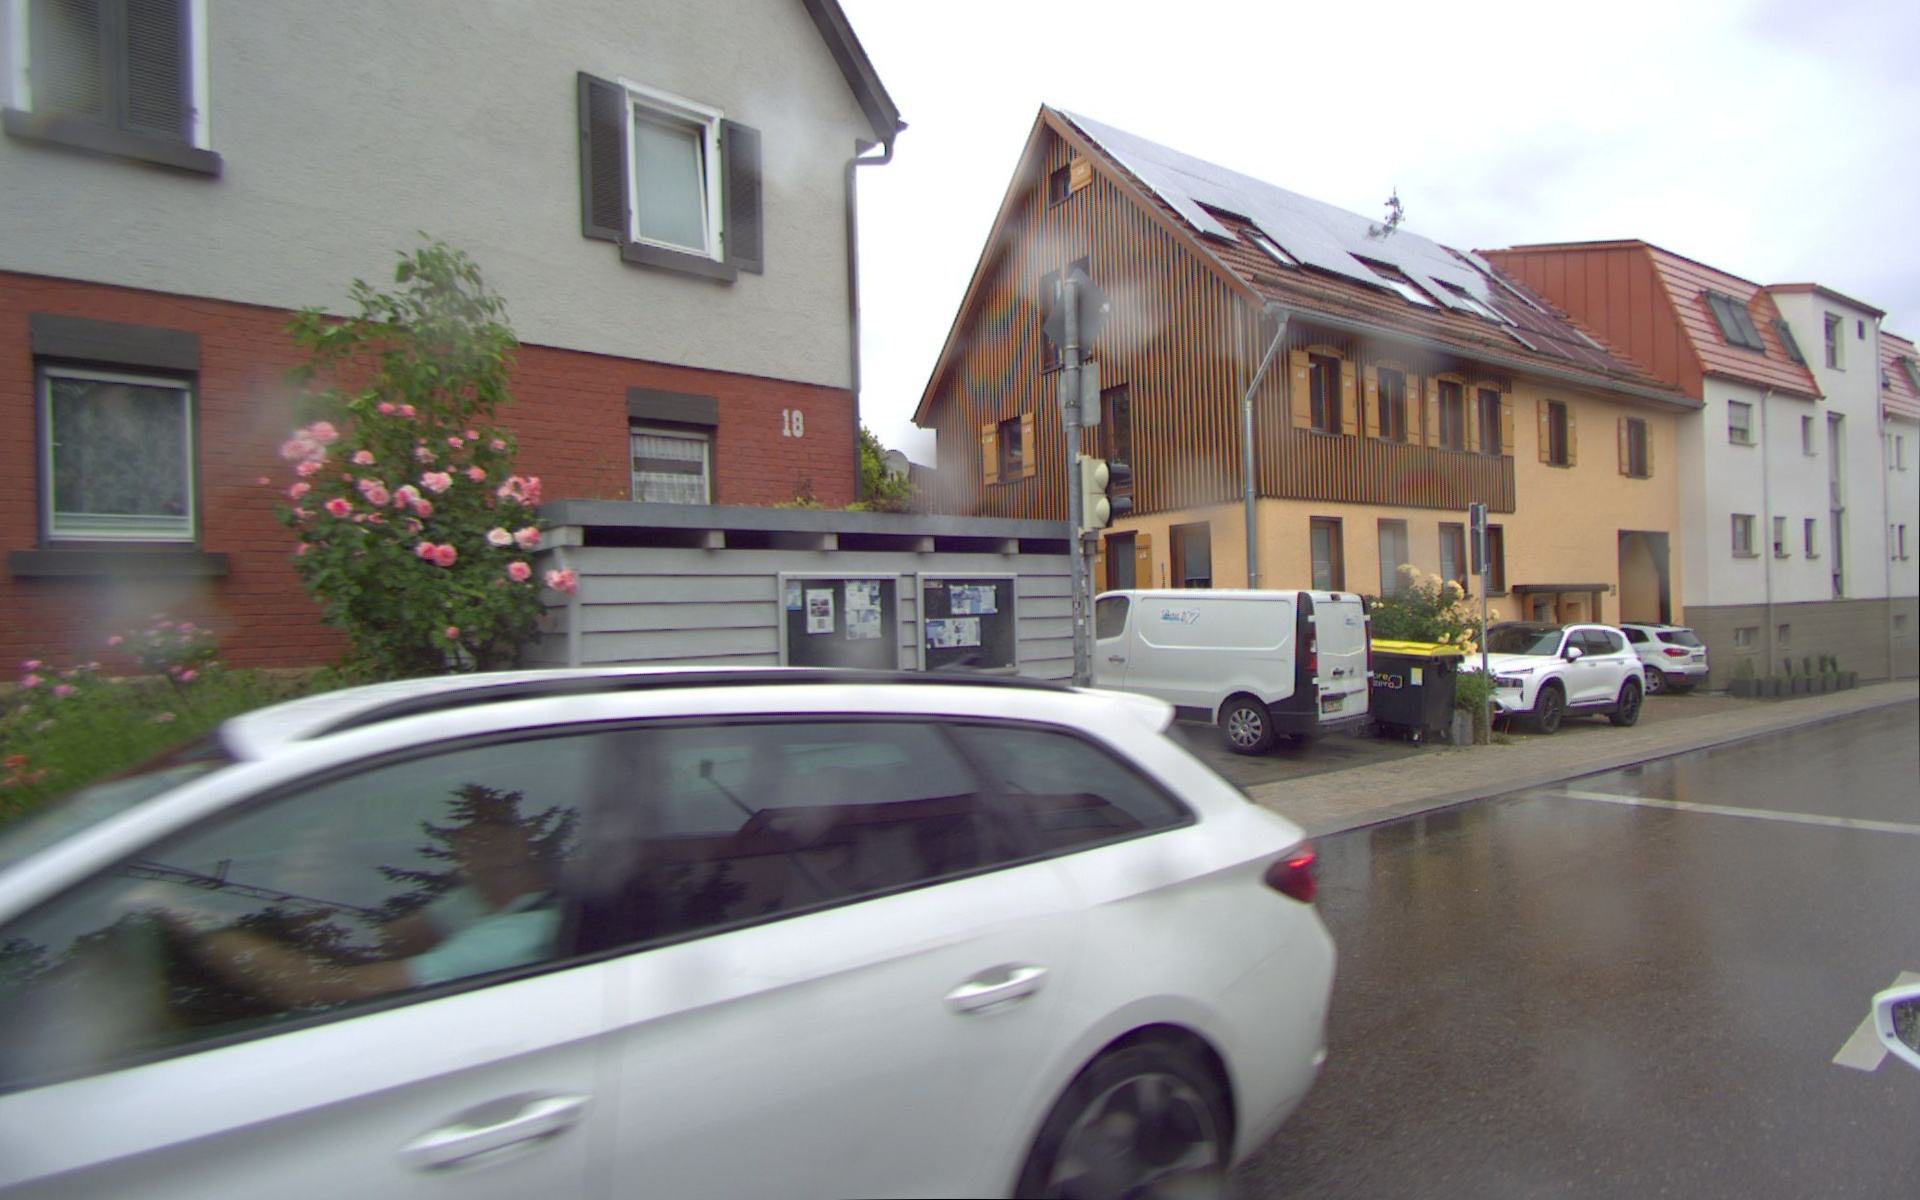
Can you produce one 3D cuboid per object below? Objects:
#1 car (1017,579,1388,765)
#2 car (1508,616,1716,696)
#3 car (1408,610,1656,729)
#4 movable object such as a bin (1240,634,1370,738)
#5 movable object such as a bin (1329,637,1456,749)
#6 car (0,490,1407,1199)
[{"bbox_3d":[3.124,0.776,13.583,4.459,2.006,1.988,3,3,43],"label":"car"},{"bbox_3d":[16.230,1.327,25.175,1.859,1.692,3.962,1,0,-33],"label":"car"},{"bbox_3d":[9.565,1.072,16.676,4.571,1.728,1.802,1,-2,-35],"label":"car"},{"bbox_3d":[4.985,1.198,14.545,0.989,1.386,1.493,1,-1,-41],"label":"movable object such as a bin"},{"bbox_3d":[5.846,1.211,13.590,0.989,1.386,1.274,1,0,-41],"label":"movable object such as a bin"},{"bbox_3d":[-0.913,0.659,2.245,4.168,1.427,1.577,4,-4,-35],"label":"car"}]
